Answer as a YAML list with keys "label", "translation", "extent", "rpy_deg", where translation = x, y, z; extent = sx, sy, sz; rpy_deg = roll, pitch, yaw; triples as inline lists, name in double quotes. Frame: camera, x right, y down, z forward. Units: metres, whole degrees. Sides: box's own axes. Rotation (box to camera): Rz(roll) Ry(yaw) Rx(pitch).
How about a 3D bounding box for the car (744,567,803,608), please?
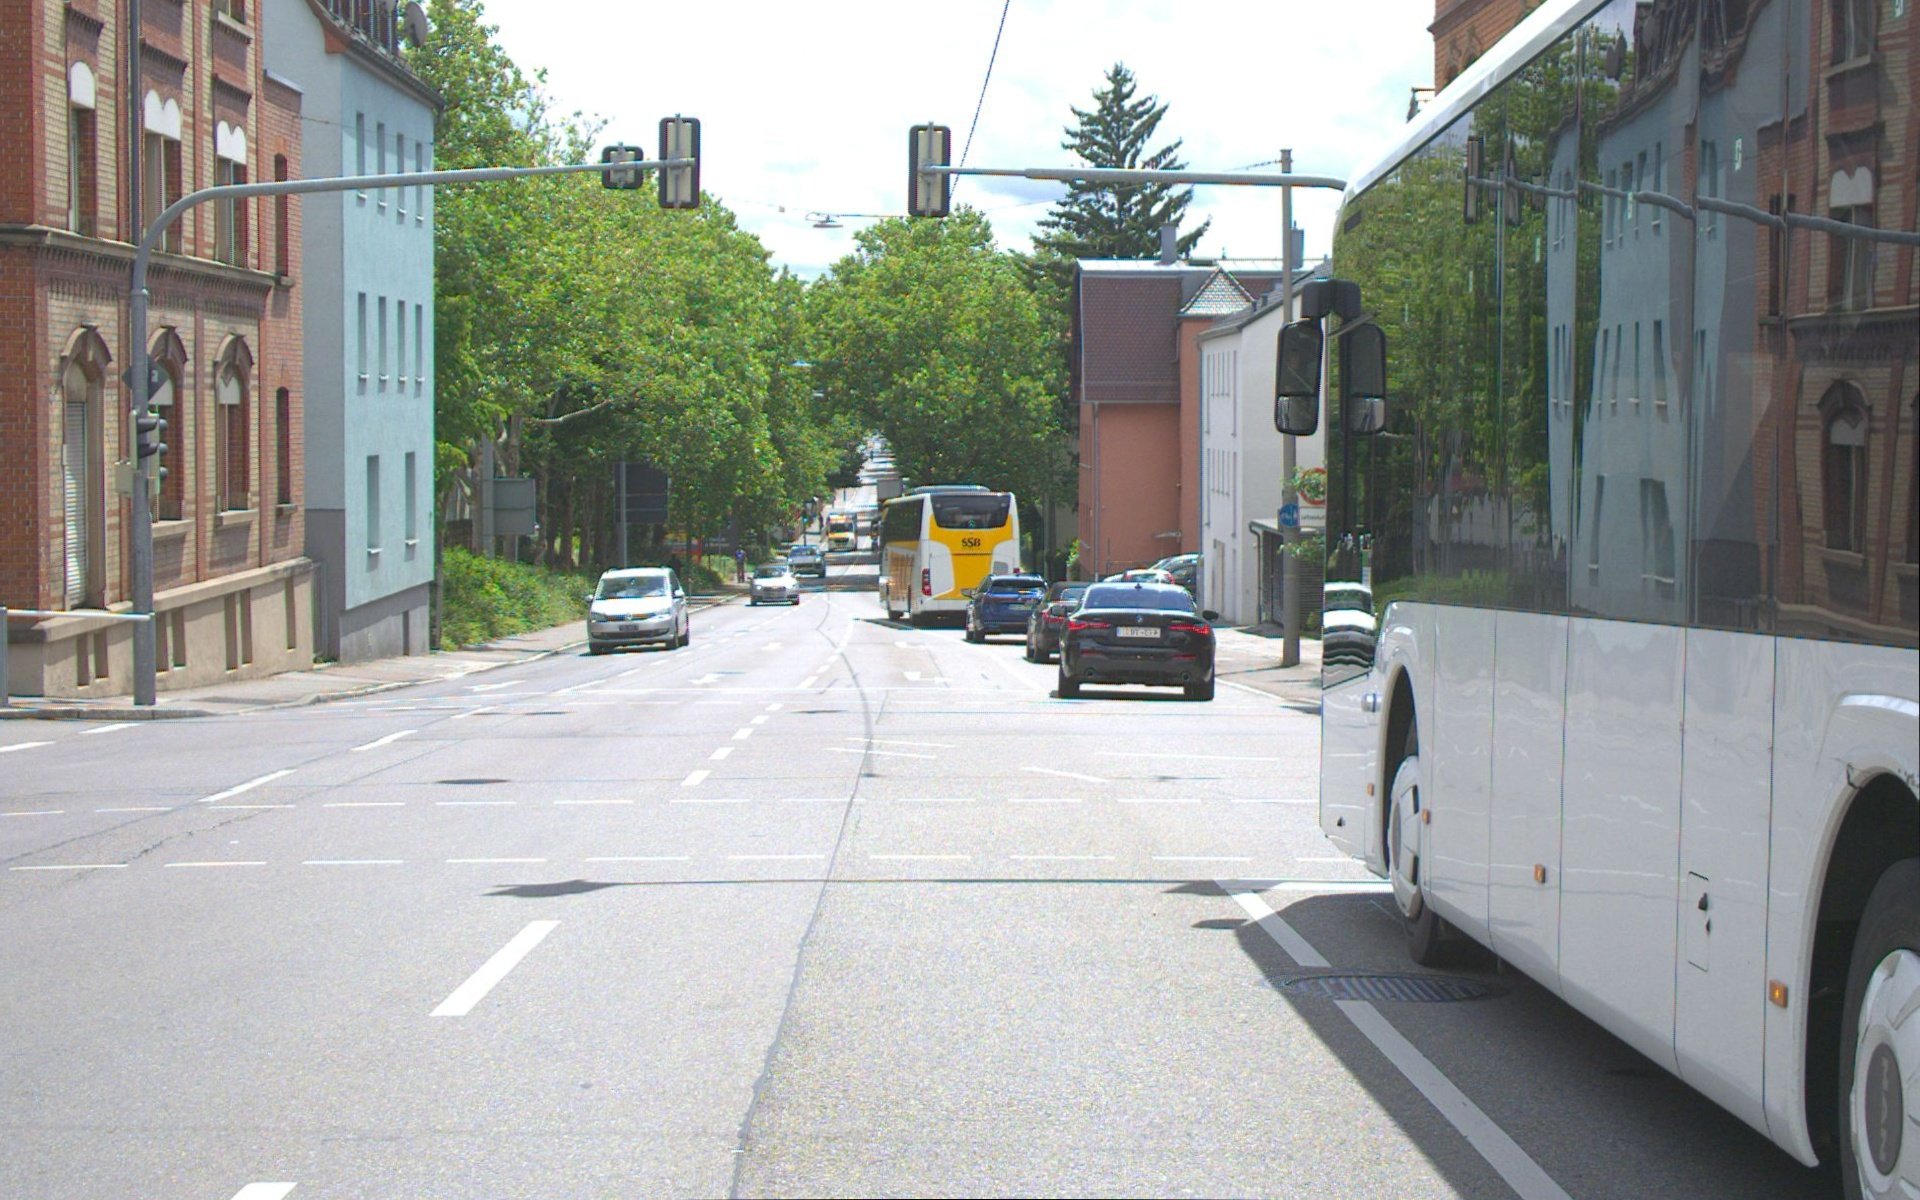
- label: "car"
  translation: [-6.514, -0.445, 120.425]
  extent: [1.865, 1.363, 4.547]
  rpy_deg: [-1, 1, -1]

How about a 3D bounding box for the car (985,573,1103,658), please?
- label: "car"
  translation: [1.420, 0.235, 59.635]
  extent: [1.865, 1.363, 4.547]
  rpy_deg: [-1, 1, -1]

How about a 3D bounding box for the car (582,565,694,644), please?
- label: "car"
  translation: [-6.618, 0.069, 71.131]
  extent: [1.935, 1.558, 4.389]
  rpy_deg: [-1, 1, -1]

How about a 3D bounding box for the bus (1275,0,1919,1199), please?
- label: "bus"
  translation: [2.976, -0.296, 9.315]
  extent: [2.904, 3.498, 12.488]
  rpy_deg: [1, 1, -1]

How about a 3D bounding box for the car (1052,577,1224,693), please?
- label: "car"
  translation: [2.085, 0.386, 41.242]
  extent: [1.797, 1.271, 4.000]
  rpy_deg: [-1, 1, -1]

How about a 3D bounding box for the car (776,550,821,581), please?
- label: "car"
  translation: [-8.442, -1.829, 180.218]
  extent: [2.207, 1.607, 4.547]
  rpy_deg: [-1, 1, -1]

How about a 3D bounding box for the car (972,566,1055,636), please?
- label: "car"
  translation: [1.088, 0.006, 71.519]
  extent: [1.608, 1.371, 4.000]
  rpy_deg: [0, 1, -1]

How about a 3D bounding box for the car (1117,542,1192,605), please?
- label: "car"
  translation: [5.260, -0.741, 93.305]
  extent: [1.767, 1.660, 4.000]
  rpy_deg: [-1, 1, -1]

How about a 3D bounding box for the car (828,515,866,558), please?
- label: "car"
  translation: [-8.213, -4.611, 250.241]
  extent: [2.141, 3.059, 5.625]
  rpy_deg: [1, 1, 4]

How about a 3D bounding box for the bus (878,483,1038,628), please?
- label: "bus"
  translation: [-0.184, -1.219, 92.165]
  extent: [3.300, 3.618, 11.246]
  rpy_deg: [-1, 1, -5]
